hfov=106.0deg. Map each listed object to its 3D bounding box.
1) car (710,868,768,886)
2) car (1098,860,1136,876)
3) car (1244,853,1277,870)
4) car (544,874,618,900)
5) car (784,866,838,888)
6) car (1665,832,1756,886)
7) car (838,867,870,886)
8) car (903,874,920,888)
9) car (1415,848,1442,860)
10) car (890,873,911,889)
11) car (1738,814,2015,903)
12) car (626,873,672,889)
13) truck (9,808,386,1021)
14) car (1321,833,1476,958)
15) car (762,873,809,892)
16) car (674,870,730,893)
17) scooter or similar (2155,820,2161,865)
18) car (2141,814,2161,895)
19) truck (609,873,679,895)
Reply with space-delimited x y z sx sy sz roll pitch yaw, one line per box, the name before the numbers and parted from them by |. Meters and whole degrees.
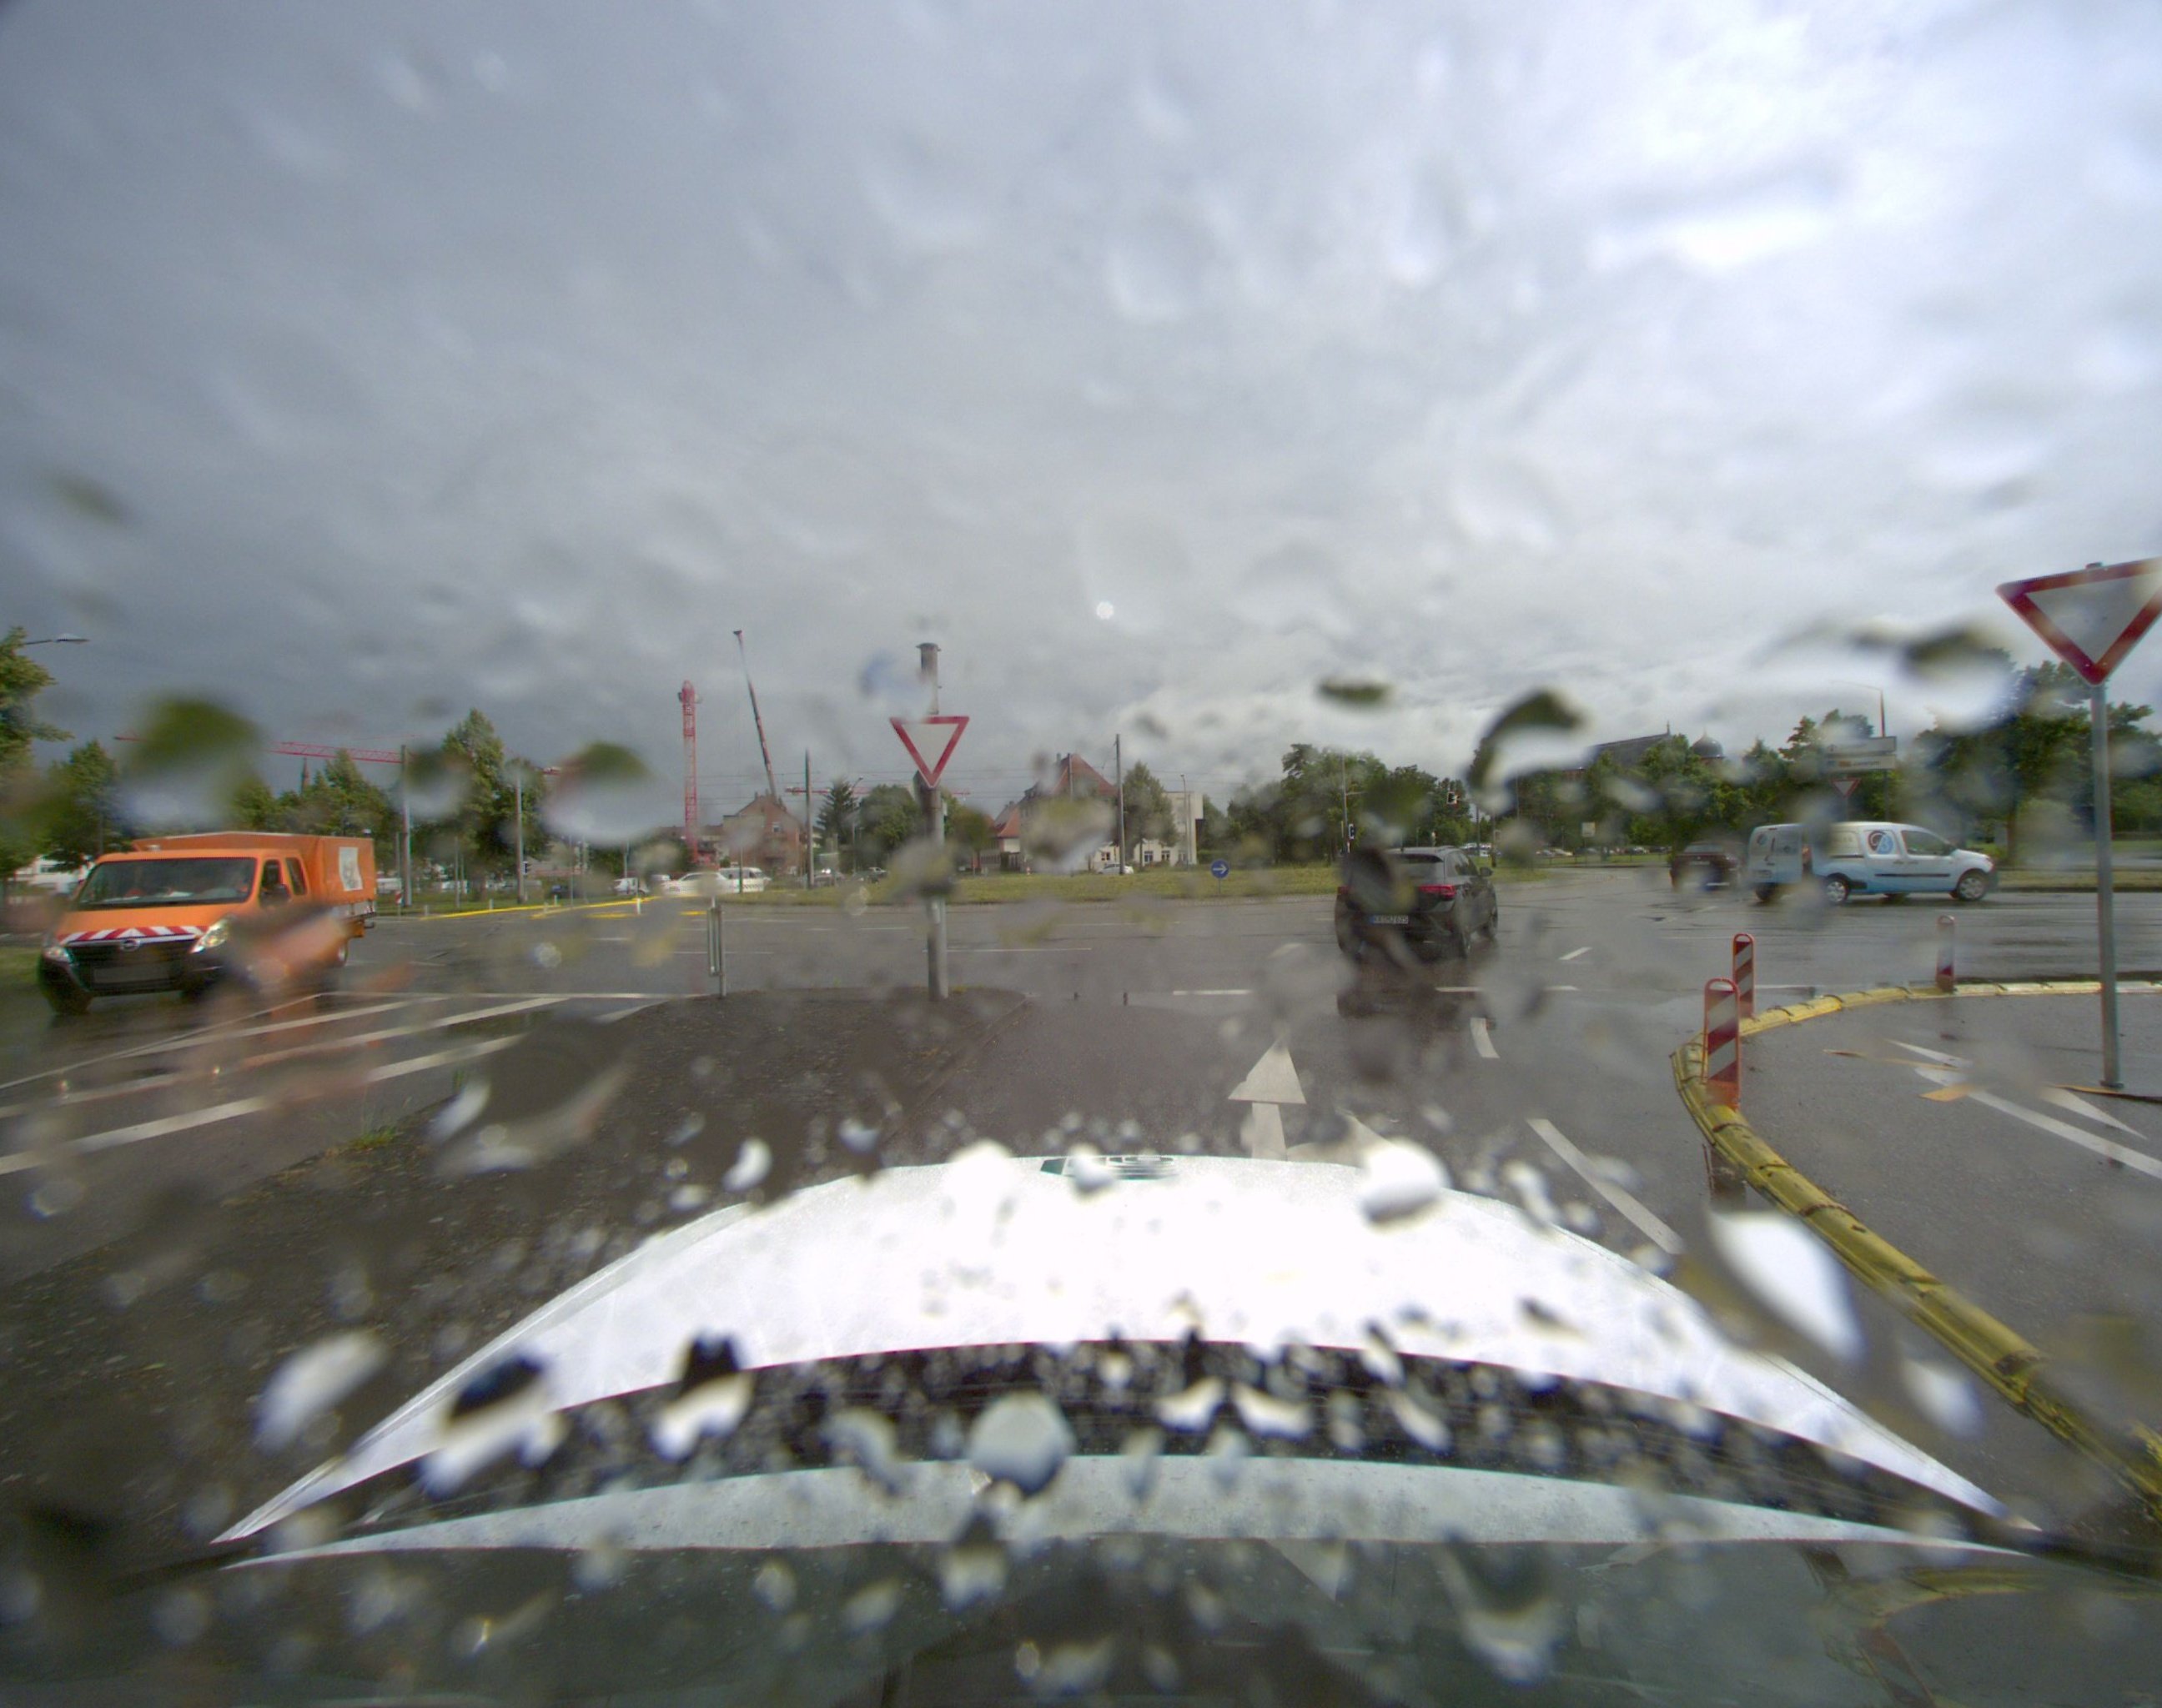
car | -40.672 2.674 96.818 6.205 2.085 2.049 0 -1 11
car | 3.624 1.457 82.571 3.455 1.454 1.560 -2 0 30
car | 23.426 0.972 106.386 2.109 2.057 5.137 -3 0 -14
car | -33.979 2.230 55.446 4.004 1.517 1.789 -2 0 -23
car | -20.978 1.738 63.376 3.699 1.560 1.554 -2 0 -44
car | 19.286 0.122 24.876 1.698 1.462 4.024 -2 0 44
car | -20.453 1.974 73.439 1.787 1.585 3.998 -2 0 -1
car | -19.971 3.177 95.992 1.593 1.560 3.542 -2 0 -6
car | 48.454 0.054 113.765 1.646 1.510 3.634 -2 -1 -12
car | -18.854 2.798 85.128 1.541 1.560 3.497 -2 -1 -2
car | 17.835 0.085 18.406 4.525 1.762 1.866 -2 0 -2
car | -46.846 2.941 88.330 3.972 1.700 1.858 0 -1 1
truck | -14.377 0.811 14.017 2.470 2.726 6.877 -2 0 -31
car | 5.084 0.523 12.768 1.880 1.617 4.023 -2 0 25
car | -29.676 2.835 81.801 1.974 1.684 4.026 -2 0 35
car | -27.218 1.967 58.477 3.509 1.510 1.486 -2 0 -29
scooter or similar | 48.046 -0.543 34.798 1.224 2.014 3.429 0 -1 27
car | 25.067 -0.056 16.270 4.271 1.757 2.053 -2 0 21
truck | -44.869 3.049 83.687 6.042 2.212 2.404 0 -1 10
